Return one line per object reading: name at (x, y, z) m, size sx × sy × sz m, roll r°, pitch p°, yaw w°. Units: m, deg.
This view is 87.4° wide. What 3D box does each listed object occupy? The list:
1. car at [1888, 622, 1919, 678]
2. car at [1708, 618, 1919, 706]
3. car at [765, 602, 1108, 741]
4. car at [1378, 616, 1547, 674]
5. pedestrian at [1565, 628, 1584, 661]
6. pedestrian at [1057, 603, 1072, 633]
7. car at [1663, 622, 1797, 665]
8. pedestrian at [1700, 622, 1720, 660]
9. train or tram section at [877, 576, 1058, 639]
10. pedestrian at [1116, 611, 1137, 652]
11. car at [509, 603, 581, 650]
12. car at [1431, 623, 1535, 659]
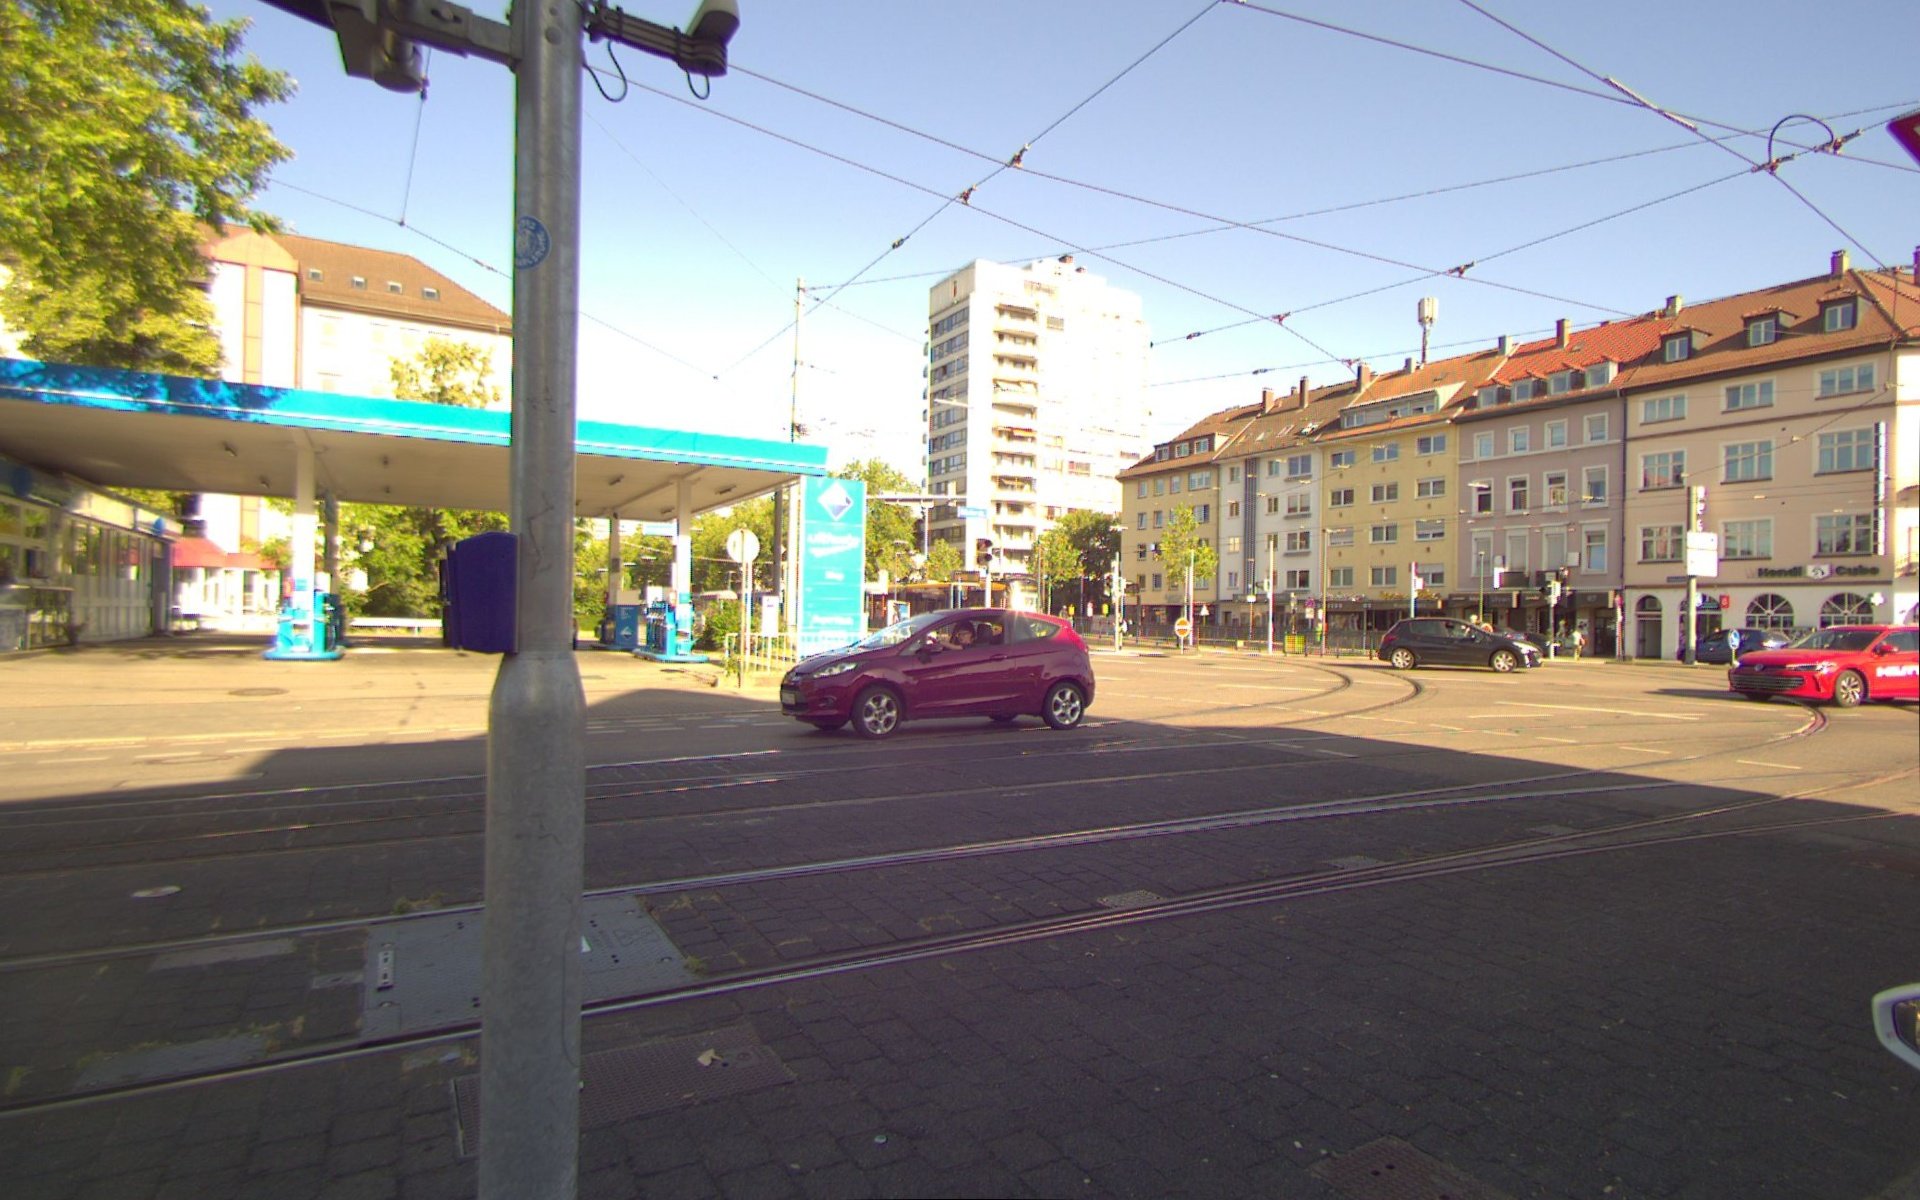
car at (29.728, 1.503, 30.542) m, size 1.845 × 1.623 × 4.436 m, roll 0°, pitch -2°, yaw 38°
car at (16.735, 1.094, 18.629) m, size 4.786 × 1.489 × 1.800 m, roll 0°, pitch 0°, yaw -9°
car at (-0.247, 0.798, 12.065) m, size 3.834 × 1.445 × 1.584 m, roll 1°, pitch -2°, yaw -29°
car at (14.296, 1.226, 28.602) m, size 4.137 × 1.537 × 1.995 m, roll 0°, pitch -1°, yaw 33°
pedestrian at (31.818, 2.285, 52.026) m, size 0.609 × 1.670 × 0.581 m, roll 2°, pitch 0°, yaw -30°
pedestrian at (7.568, 1.278, 72.653) m, size 0.729 × 2.127 × 0.880 m, roll 2°, pitch 0°, yaw -21°
car at (30.227, 1.666, 39.575) m, size 1.761 × 1.524 × 3.906 m, roll -1°, pitch 0°, yaw -16°
pedestrian at (33.750, 1.838, 45.206) m, size 0.492 × 1.670 × 0.520 m, roll 2°, pitch 0°, yaw -30°
train or tram section at (-0.146, 0.326, 59.484) m, size 2.821 × 3.179 × 16.611 m, roll 2°, pitch 0°, yaw -29°
pedestrian at (6.805, 1.264, 41.060) m, size 0.750 × 1.631 × 0.613 m, roll 2°, pitch 0°, yaw 15°
car at (-13.523, 0.840, 32.639) m, size 1.659 × 1.372 × 3.559 m, roll 2°, pitch 0°, yaw -31°
car at (24.941, 1.926, 48.022) m, size 1.807 × 1.596 × 4.172 m, roll 1°, pitch 0°, yaw -25°
